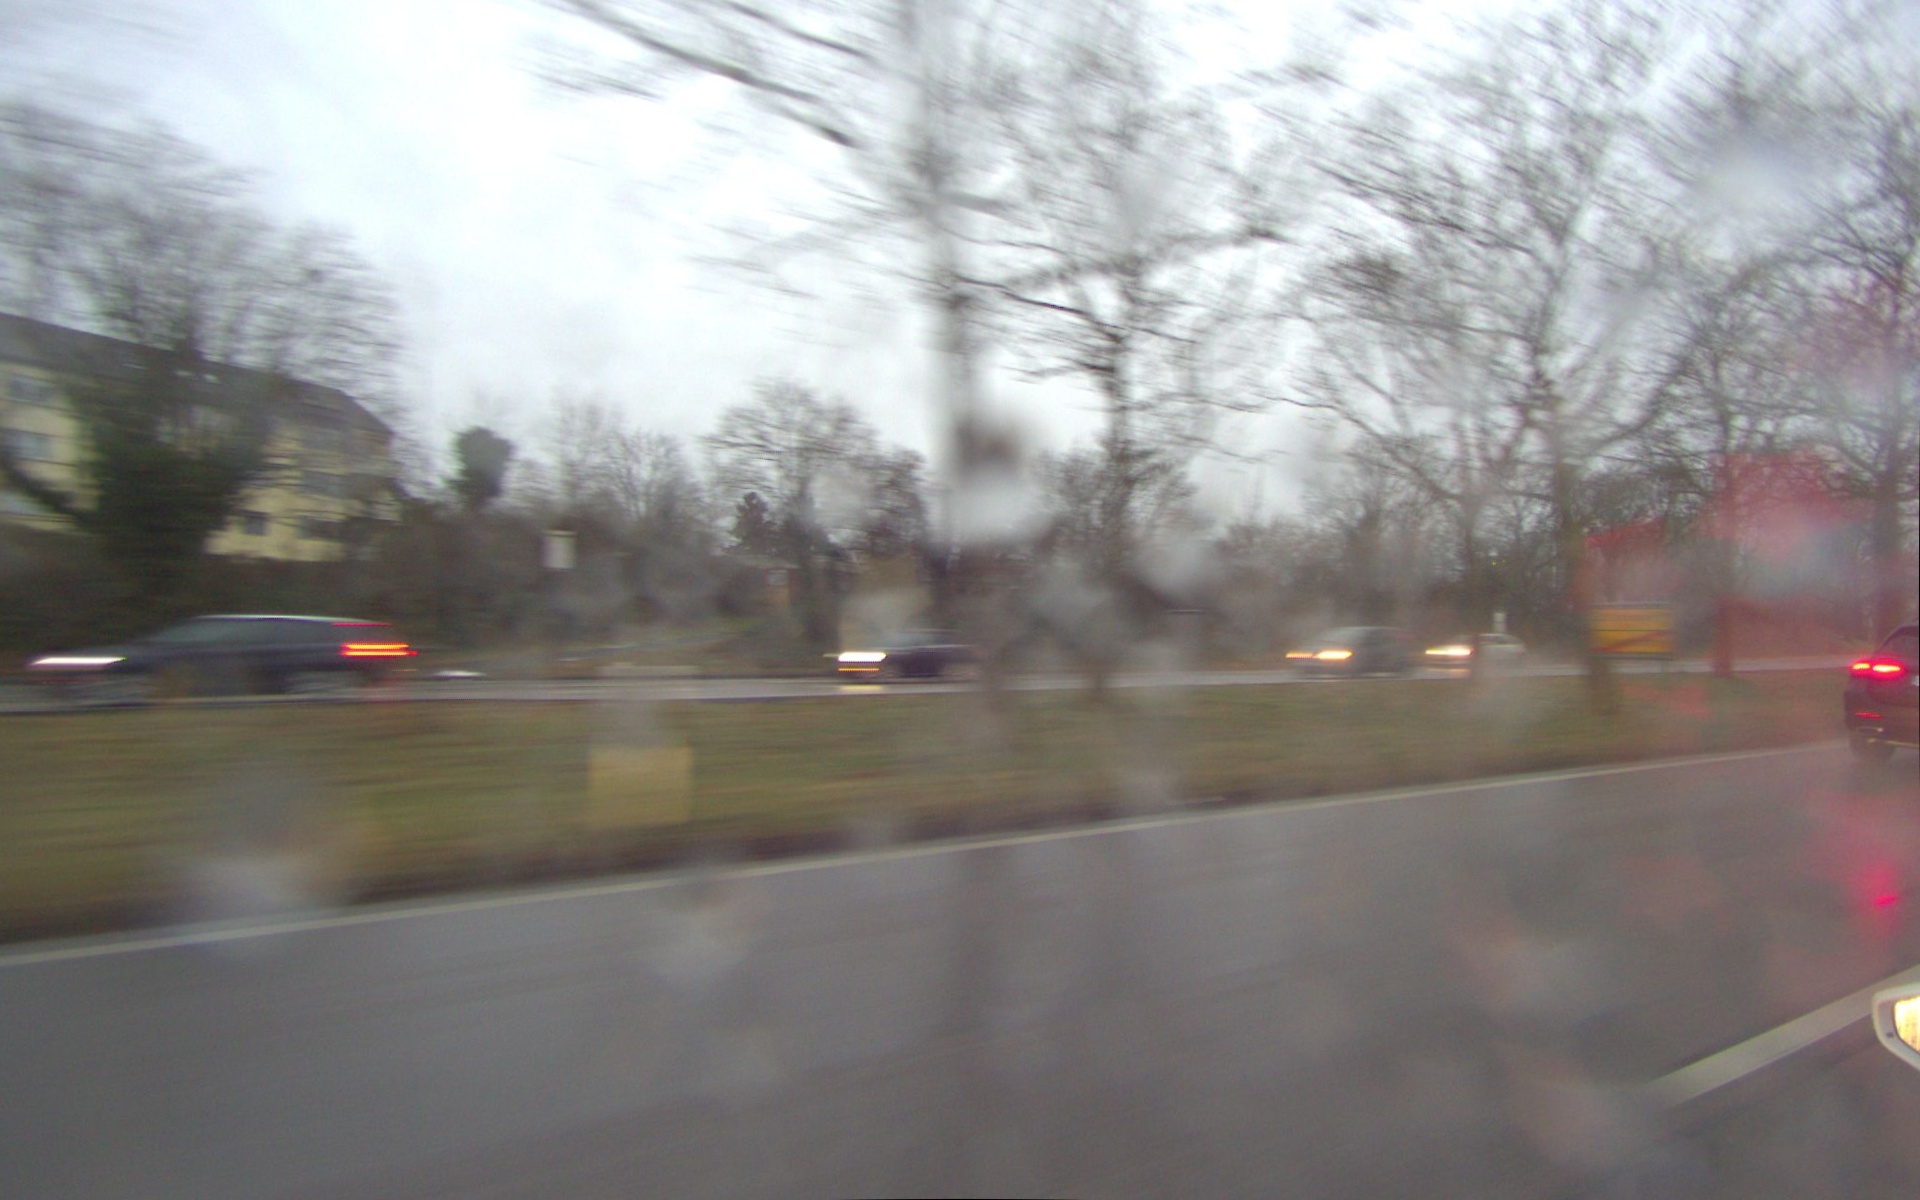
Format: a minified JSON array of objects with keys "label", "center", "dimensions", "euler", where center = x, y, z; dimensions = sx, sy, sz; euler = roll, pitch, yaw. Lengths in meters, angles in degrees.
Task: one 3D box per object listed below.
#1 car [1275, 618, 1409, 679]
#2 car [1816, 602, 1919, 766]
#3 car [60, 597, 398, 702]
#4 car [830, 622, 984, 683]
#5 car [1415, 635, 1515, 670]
[{"label":"car","center":[11.331,1.421,29.762],"dimensions":[3.934,1.704,1.609],"euler":[2,-1,-30]},{"label":"car","center":[11.491,0.904,11.007],"dimensions":[4.260,1.623,1.983],"euler":[2,0,-32]},{"label":"car","center":[-11.867,0.816,16.748],"dimensions":[4.326,1.553,1.775],"euler":[2,-2,-30]},{"label":"car","center":[-1.378,1.373,26.574],"dimensions":[3.747,1.487,1.624],"euler":[2,-2,-30]},{"label":"car","center":[21.820,2.259,43.390],"dimensions":[4.246,1.413,1.742],"euler":[2,-2,-28]}]
